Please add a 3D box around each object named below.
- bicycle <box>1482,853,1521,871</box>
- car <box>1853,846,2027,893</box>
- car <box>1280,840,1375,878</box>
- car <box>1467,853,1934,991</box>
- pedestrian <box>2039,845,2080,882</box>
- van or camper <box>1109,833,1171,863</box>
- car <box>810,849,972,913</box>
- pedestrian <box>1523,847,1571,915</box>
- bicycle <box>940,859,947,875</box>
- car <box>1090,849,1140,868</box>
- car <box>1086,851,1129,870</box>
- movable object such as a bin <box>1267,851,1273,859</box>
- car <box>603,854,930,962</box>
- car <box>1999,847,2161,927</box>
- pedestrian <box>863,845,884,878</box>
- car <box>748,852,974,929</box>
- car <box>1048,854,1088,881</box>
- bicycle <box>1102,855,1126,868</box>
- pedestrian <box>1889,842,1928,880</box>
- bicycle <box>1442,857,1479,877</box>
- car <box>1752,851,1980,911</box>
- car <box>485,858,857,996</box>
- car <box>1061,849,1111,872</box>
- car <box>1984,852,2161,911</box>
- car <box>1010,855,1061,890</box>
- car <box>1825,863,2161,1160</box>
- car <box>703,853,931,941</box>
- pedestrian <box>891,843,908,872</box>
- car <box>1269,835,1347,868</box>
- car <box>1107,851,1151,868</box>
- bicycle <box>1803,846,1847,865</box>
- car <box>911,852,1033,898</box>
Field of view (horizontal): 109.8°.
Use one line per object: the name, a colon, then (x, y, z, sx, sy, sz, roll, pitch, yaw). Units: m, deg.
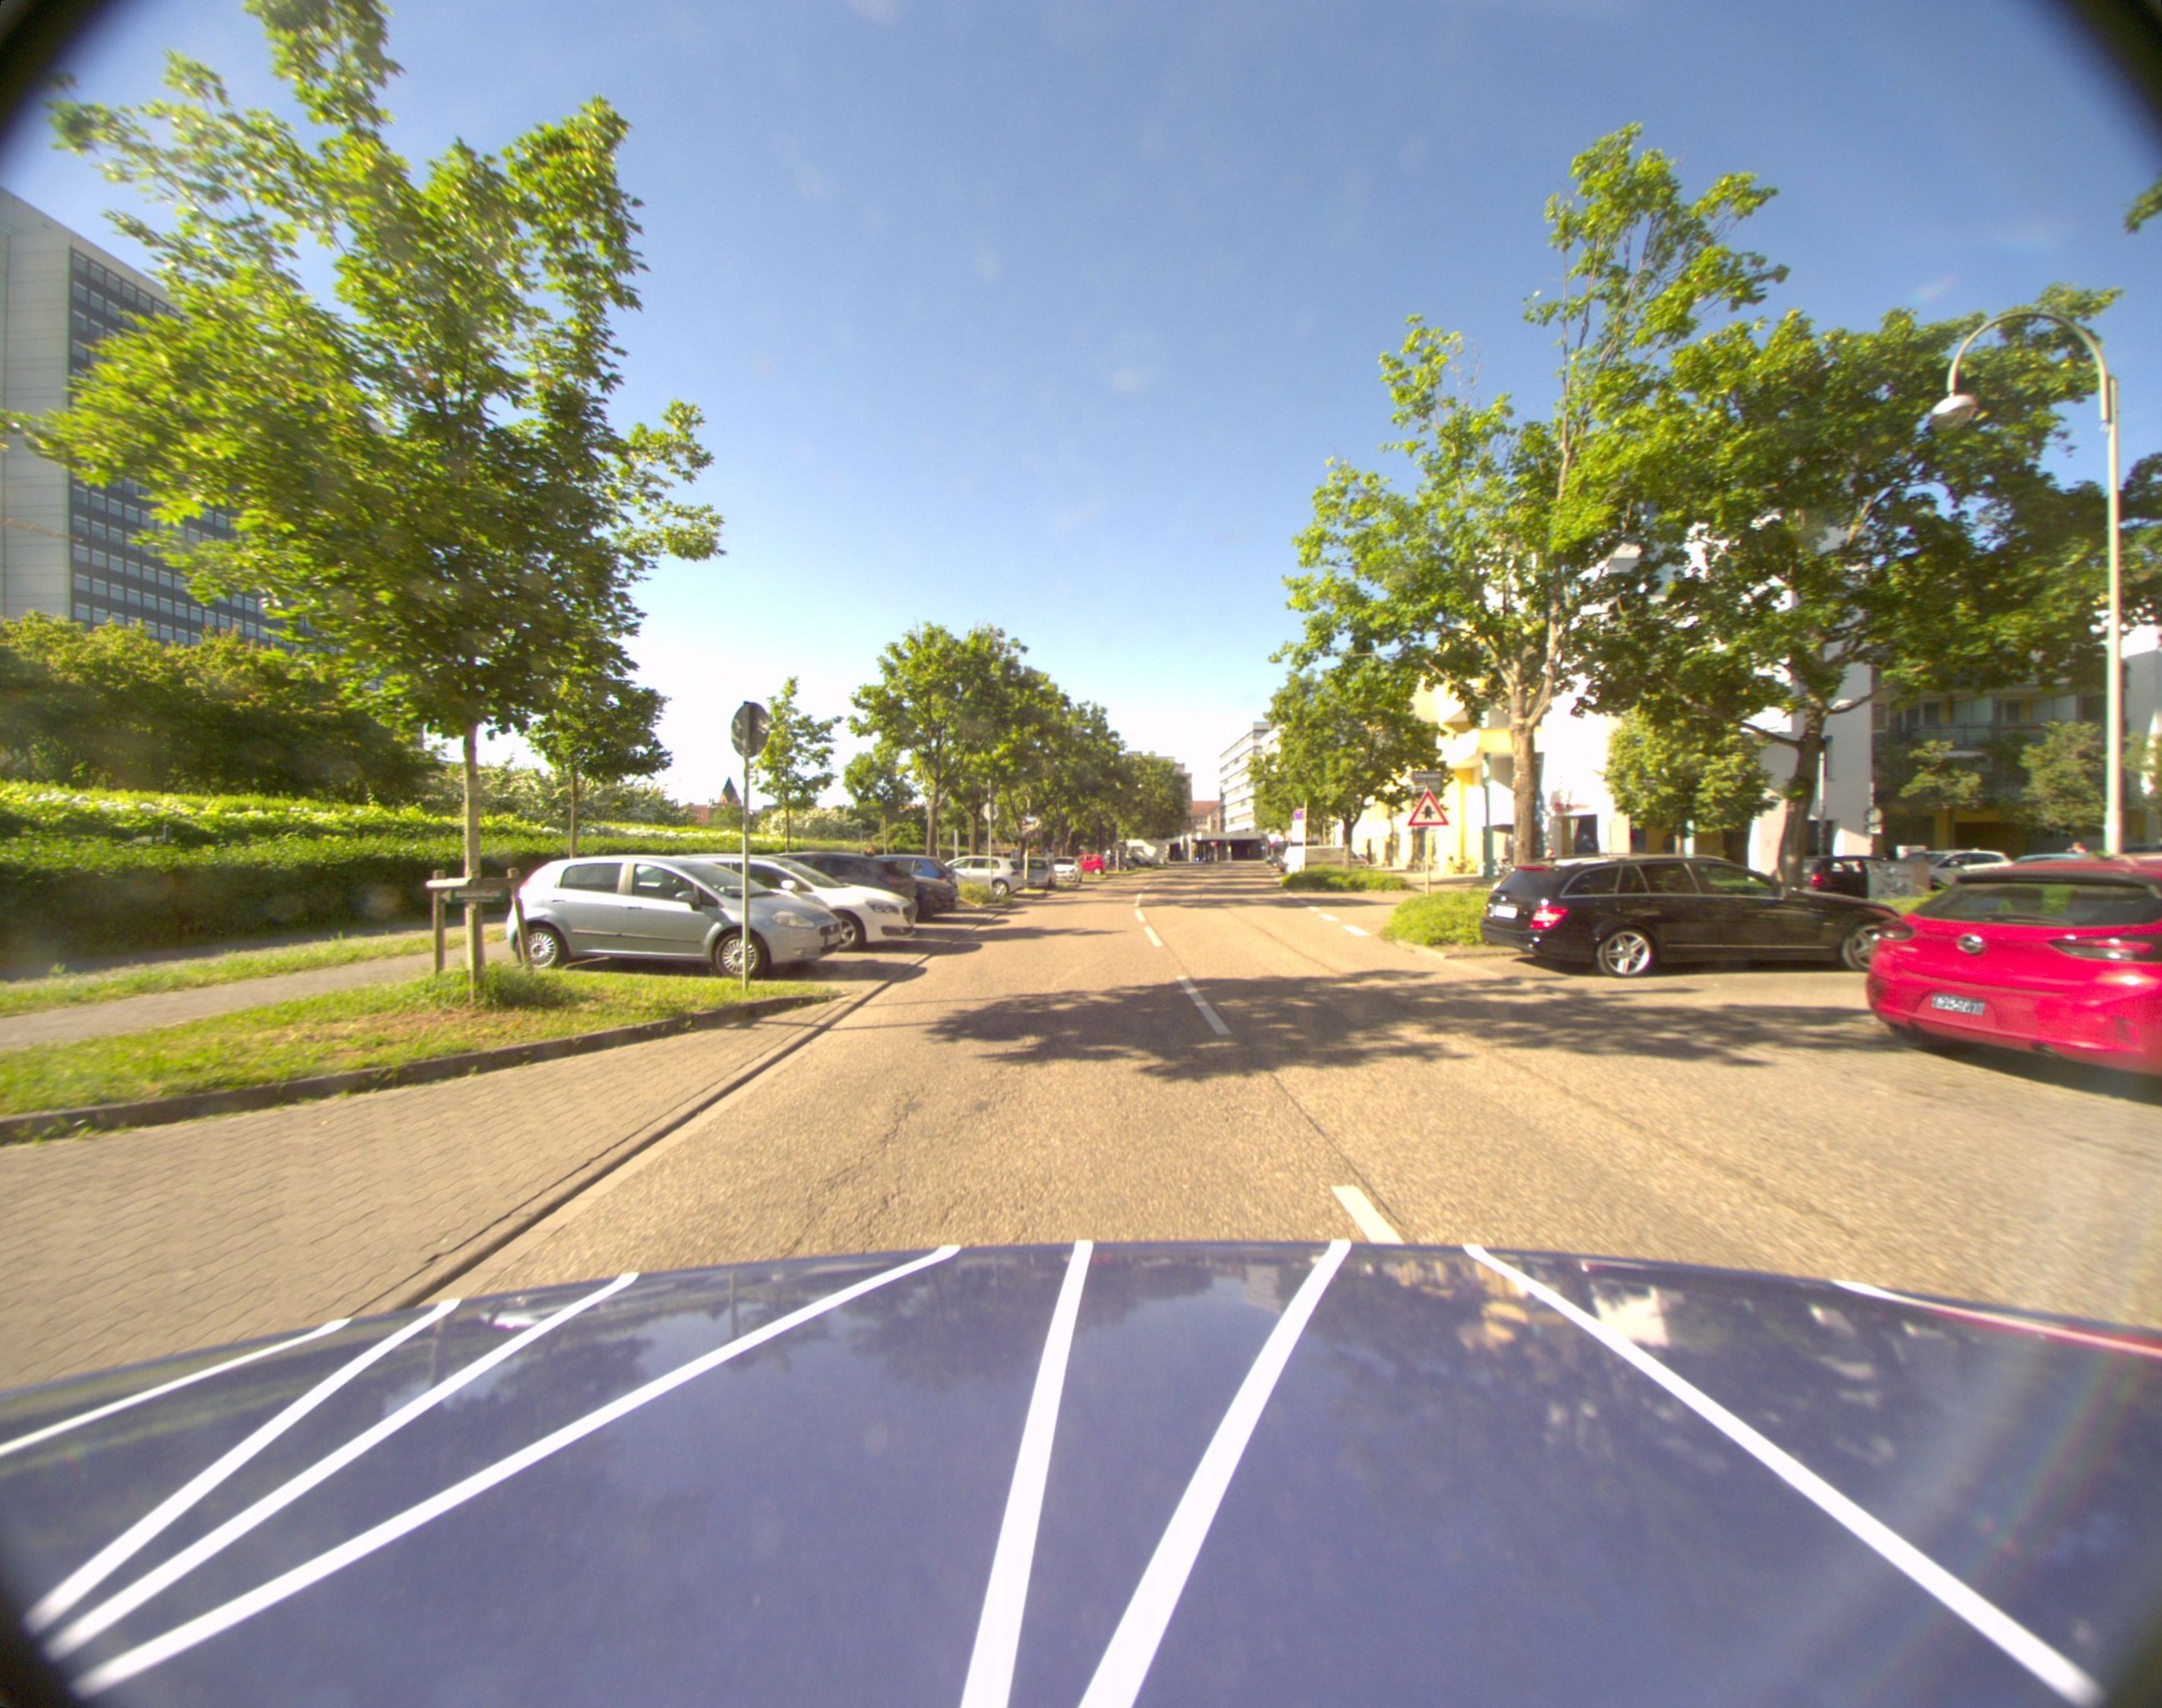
bicycle: (22.044, 0.408, 39.810, 1.803, 0.867, 0.491, -2, 1, -6)
car: (32.223, 0.582, 28.590, 4.245, 1.584, 2.000, -2, 0, 0)
car: (13.605, 0.266, 41.891, 4.776, 1.973, 1.996, -1, 0, -23)
car: (7.417, 0.786, 9.483, 4.272, 1.415, 1.740, -2, 0, 4)
pedestrian: (39.856, 0.391, 30.947, 0.846, 1.480, 0.681, -1, 1, -7)
van or camper: (6.219, -0.626, 79.768, 5.990, 2.967, 2.673, 2, 1, 12)
car: (-5.020, 0.689, 20.421, 3.814, 1.440, 1.745, 3, 1, 3)
pedestrian: (12.195, 0.690, 19.920, 0.658, 1.716, 1.022, 1, 1, 5)
bicycle: (-7.925, 0.748, 43.823, 0.347, 0.861, 1.408, 1, 1, -11)
car: (3.142, 0.412, 69.606, 4.199, 1.537, 1.861, 2, 1, 14)
car: (2.349, 0.543, 66.983, 3.466, 1.471, 1.861, 2, 1, 14)
movable object such as a bin: (28.298, 0.141, 113.756, 0.674, 1.067, 0.804, 0, 1, 38)
car: (-4.948, 0.836, 12.560, 4.563, 1.506, 1.981, 2, 1, -5)
car: (20.119, 0.591, 13.762, 1.740, 1.434, 4.128, 0, 0, -11)
pedestrian: (-9.739, 0.334, 35.633, 0.607, 1.533, 0.938, 0, 1, 8)
car: (-4.968, 0.792, 17.677, 4.560, 1.506, 2.158, 2, 1, 1)
car: (-0.711, 0.749, 44.237, 1.646, 1.485, 3.768, 2, 1, 8)
bicycle: (2.605, 0.613, 60.266, 1.752, 0.985, 0.531, 1, 1, 25)
pedestrian: (34.037, 0.296, 31.265, 0.798, 1.505, 0.719, -2, 1, -1)
bicycle: (22.185, 0.750, 44.485, 1.800, 1.091, 0.702, 1, 1, 14)
car: (20.160, 0.704, 19.651, 3.992, 1.438, 1.804, 0, -2, 0)
car: (-5.205, 0.879, 10.002, 3.957, 1.506, 1.701, 2, 1, 2)
car: (0.385, 0.477, 57.591, 3.438, 1.535, 1.629, 3, 1, 14)
car: (26.566, 0.715, 19.666, 4.005, 1.441, 1.937, 0, -2, 0)
car: (-2.065, 0.824, 36.123, 1.813, 1.485, 4.625, 2, 0, 4)
car: (7.479, 0.791, 4.745, 3.901, 1.415, 1.739, -2, 0, 1)
car: (-5.124, 0.800, 15.127, 3.885, 1.506, 1.750, 2, 1, 1)
pedestrian: (-10.157, 0.194, 42.579, 0.725, 1.578, 0.853, 0, 1, 3)
car: (17.760, -0.198, 59.503, 5.507, 2.422, 2.184, -2, 0, -14)
car: (4.871, 0.588, 77.144, 4.155, 1.537, 1.860, 2, 1, 11)
bicycle: (34.915, 0.079, 35.674, 1.803, 0.867, 0.287, 0, 1, -1)
car: (-3.989, 0.748, 28.070, 4.096, 1.421, 1.643, 3, 1, 7)
